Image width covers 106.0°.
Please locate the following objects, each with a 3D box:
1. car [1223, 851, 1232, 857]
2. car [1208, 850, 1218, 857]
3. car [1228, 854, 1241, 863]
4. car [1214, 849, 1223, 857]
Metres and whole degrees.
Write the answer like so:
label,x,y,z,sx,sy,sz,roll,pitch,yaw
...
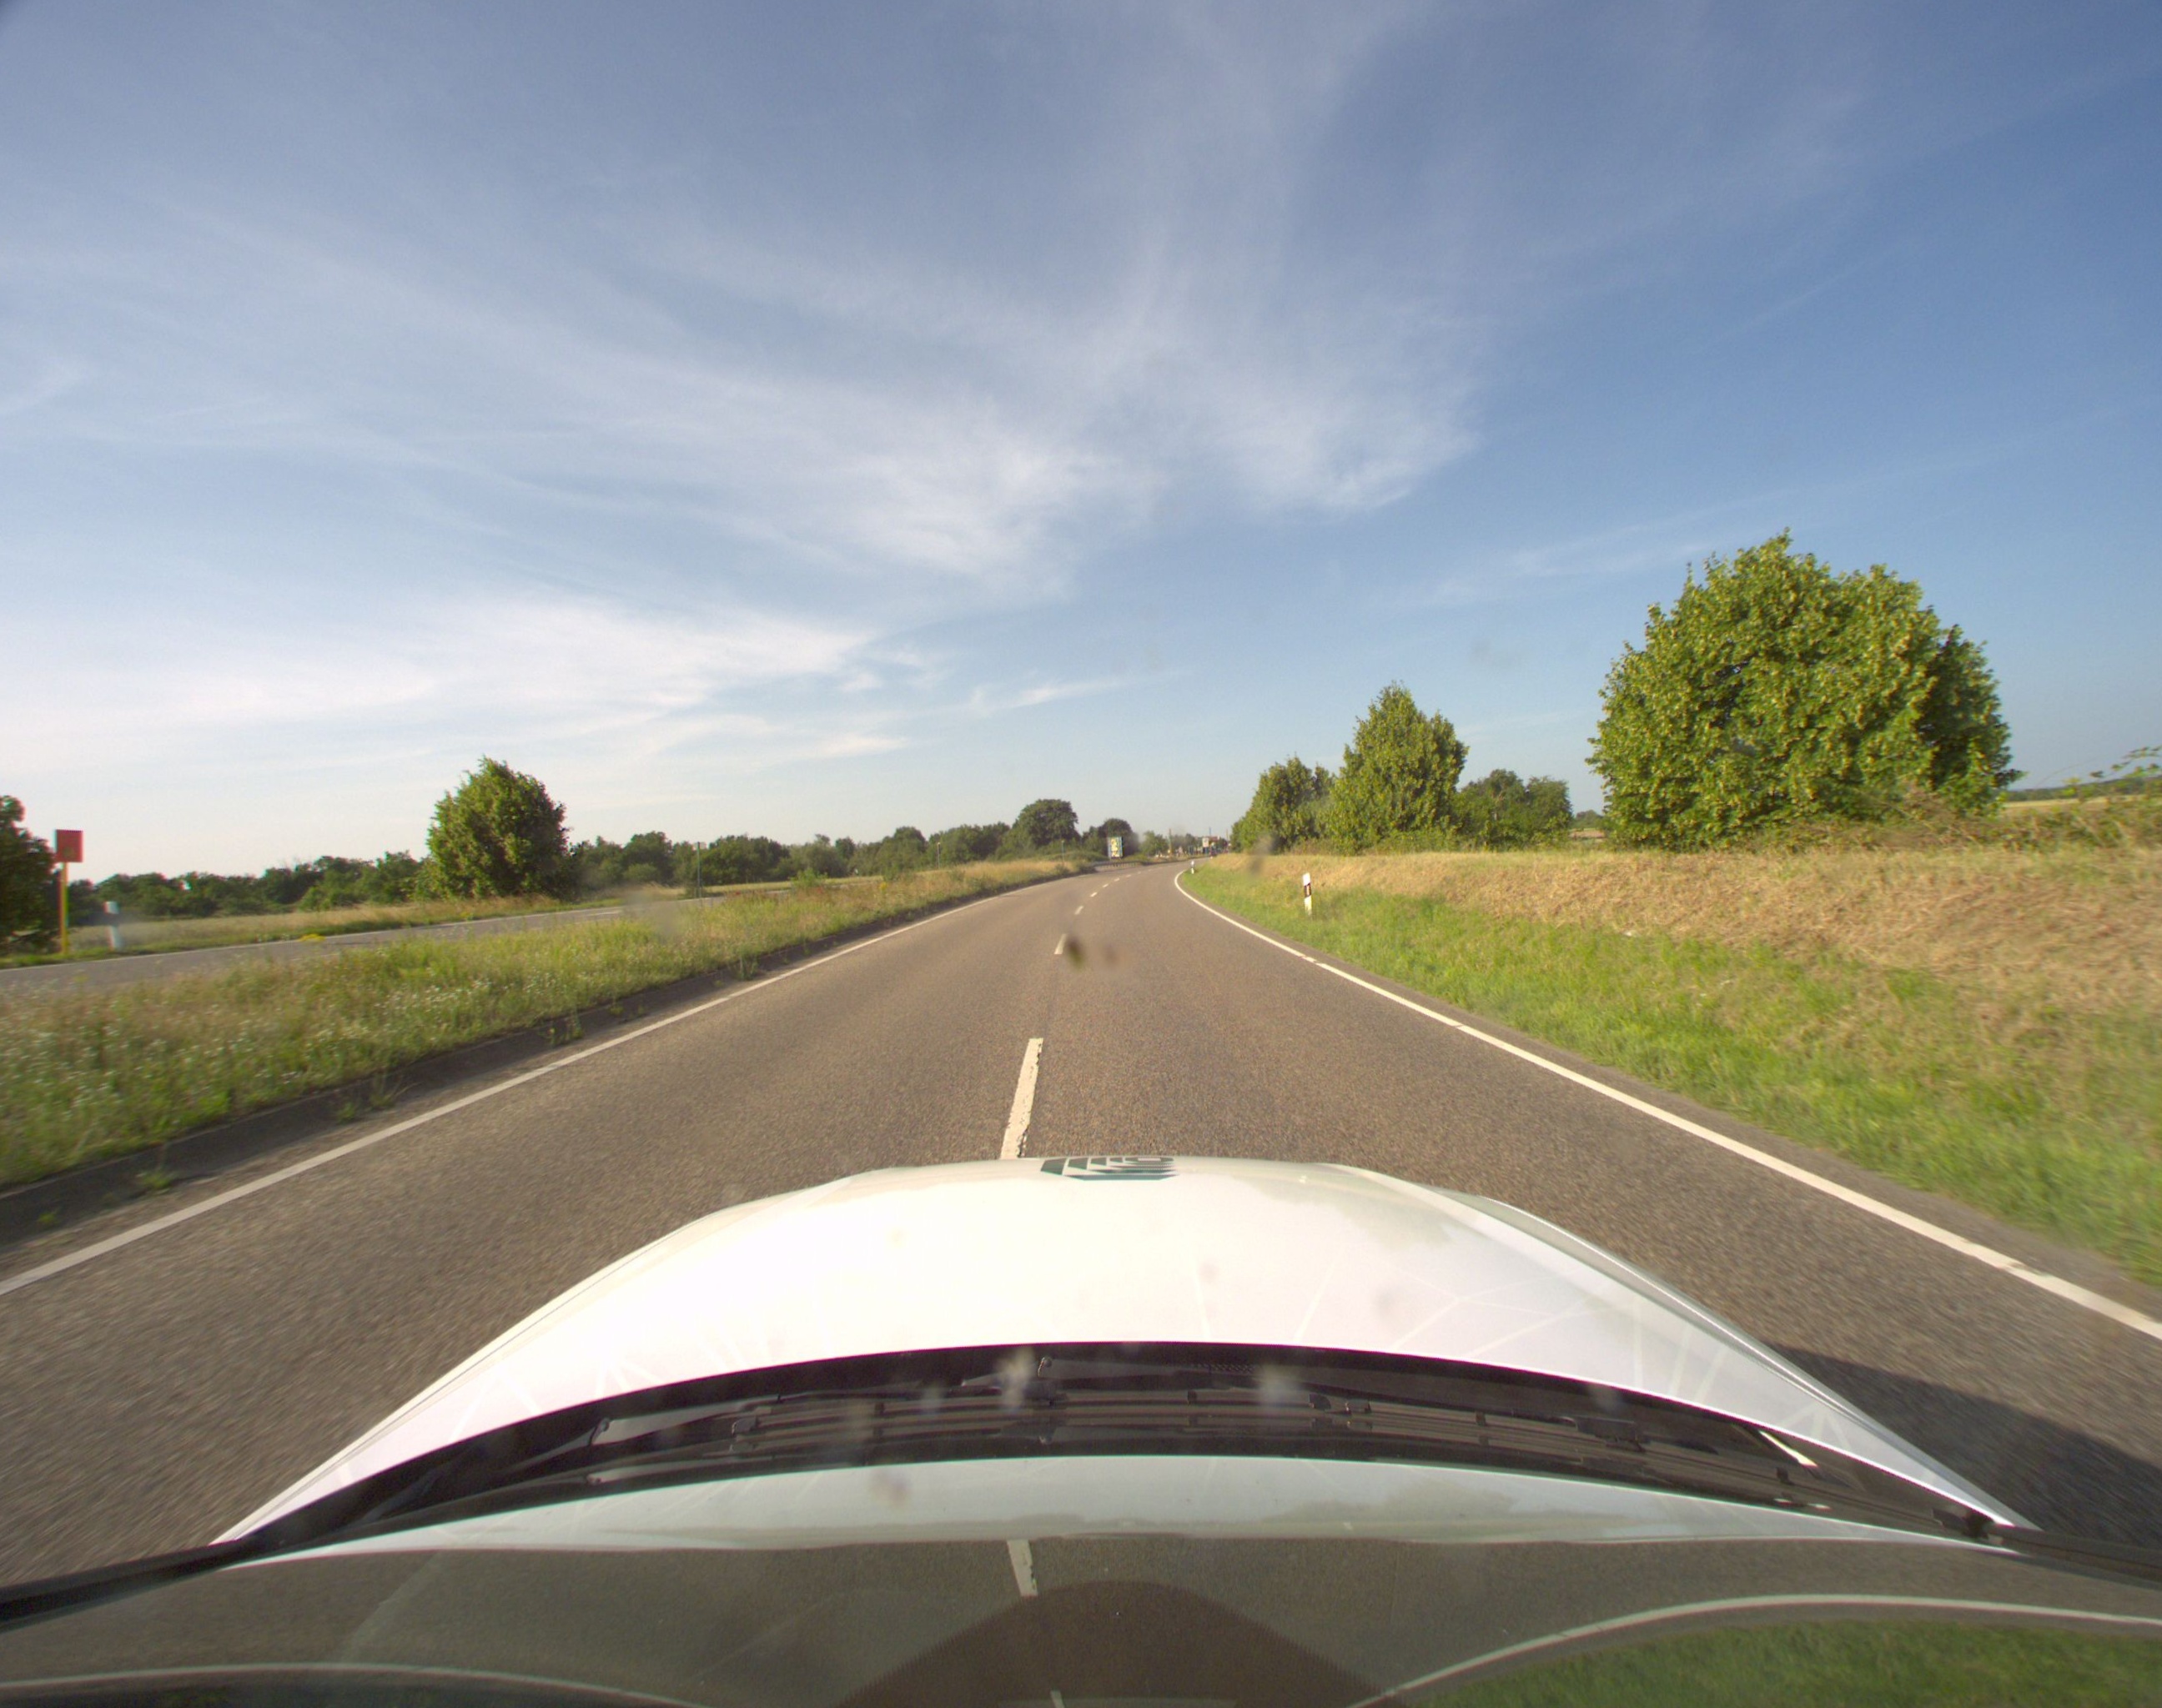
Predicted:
label,x,y,z,sx,sy,sz,roll,pitch,yaw
car,39.370,-0.104,219.206,1.756,1.471,4.033,-3,0,17
car,31.648,-0.131,195.736,1.719,1.456,4.540,-3,0,17
car,30.044,0.824,159.325,1.978,1.552,4.018,-3,0,17
car,34.189,-0.258,202.445,1.719,1.855,4.540,-3,0,17
